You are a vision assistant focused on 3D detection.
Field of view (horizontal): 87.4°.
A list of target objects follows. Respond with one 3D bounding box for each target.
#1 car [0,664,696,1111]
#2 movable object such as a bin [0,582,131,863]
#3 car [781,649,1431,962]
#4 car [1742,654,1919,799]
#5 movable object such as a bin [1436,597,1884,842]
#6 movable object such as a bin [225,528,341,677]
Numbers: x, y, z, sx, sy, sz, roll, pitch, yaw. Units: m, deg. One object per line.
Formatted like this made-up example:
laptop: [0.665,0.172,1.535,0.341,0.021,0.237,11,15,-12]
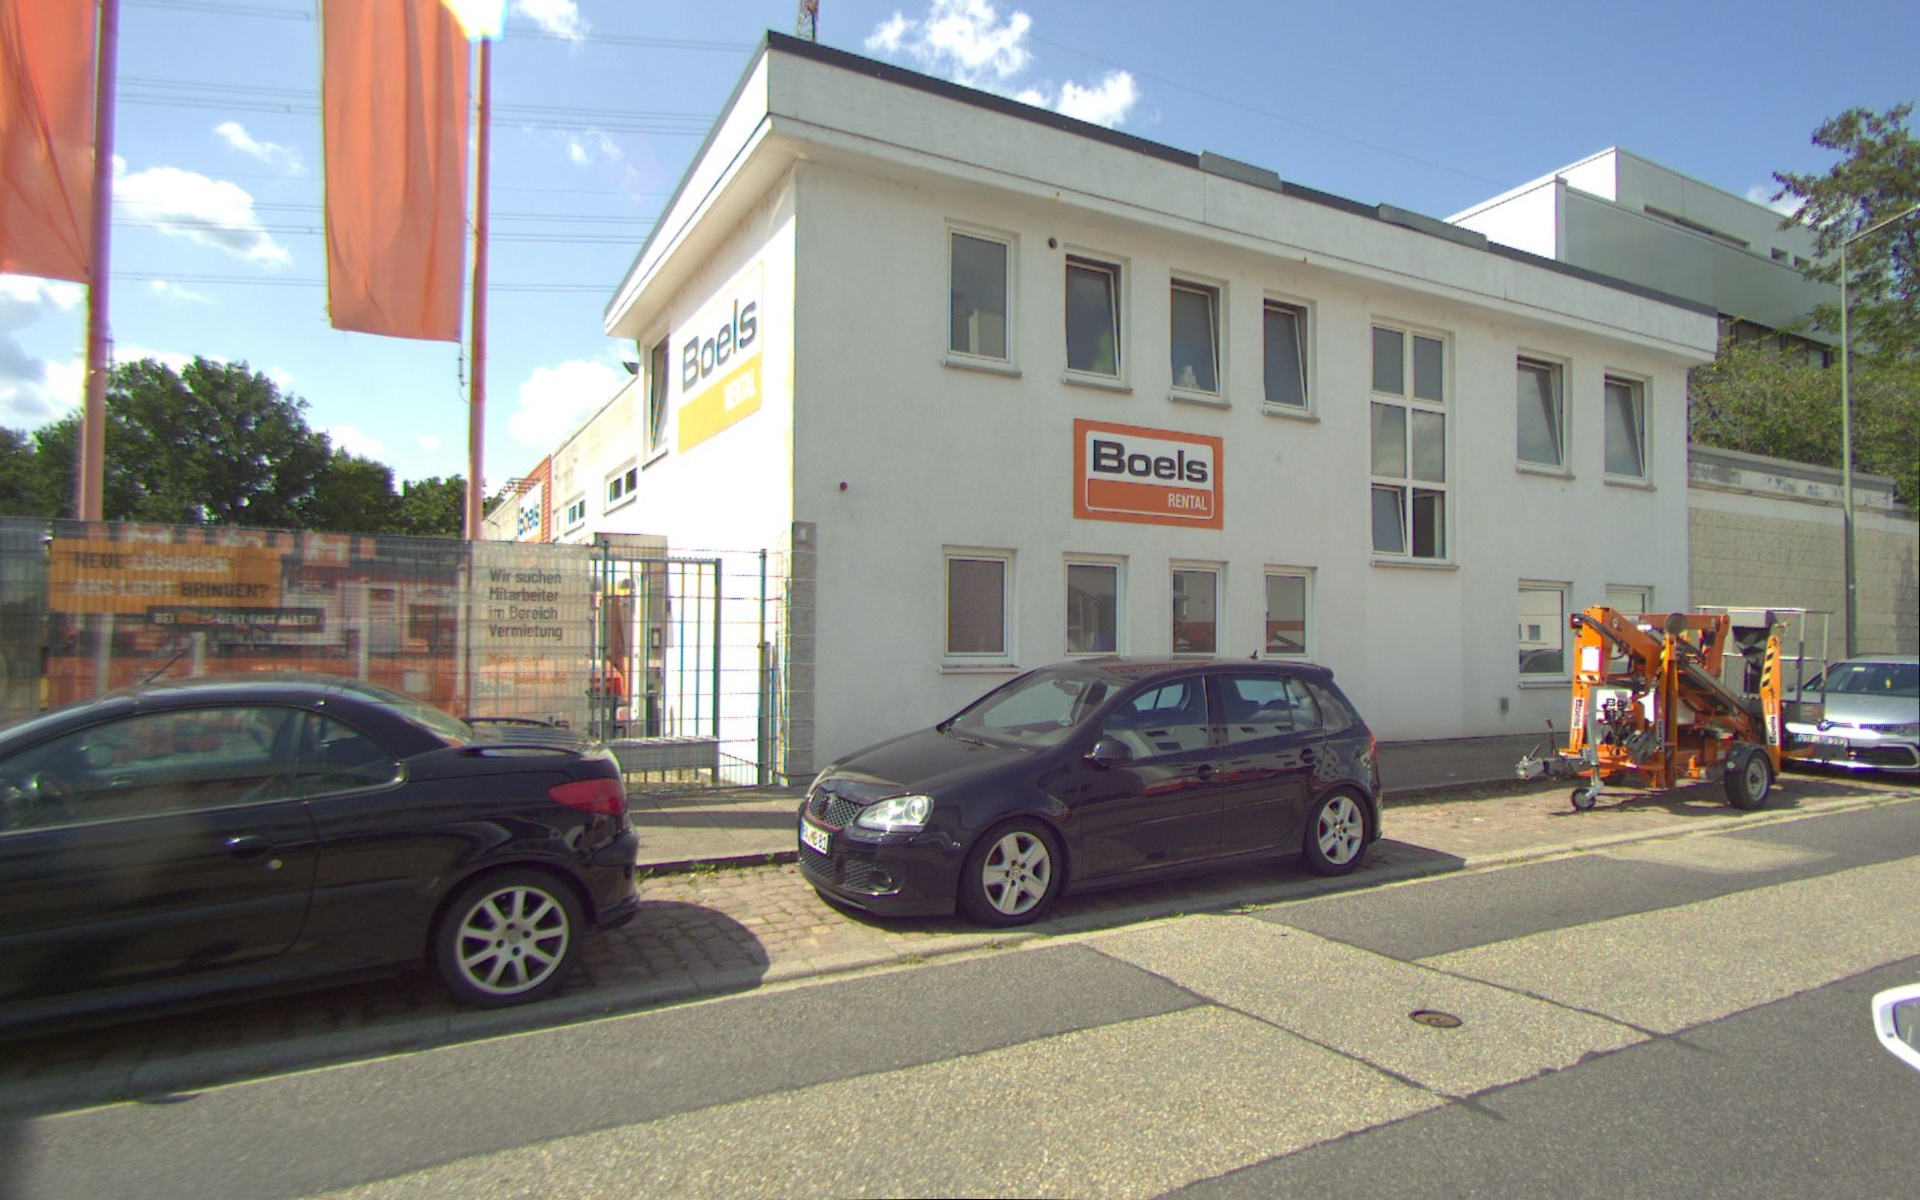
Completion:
car: [-3.273,1.021,4.282,3.839,1.395,1.665,2,-1,-30]
movable object such as a bin: [-9.791,0.881,9.875,1.887,2.031,7.547,2,-1,-35]
car: [1.083,1.128,6.754,4.173,1.474,1.665,2,-1,-30]
car: [11.804,1.467,12.565,4.461,1.474,1.665,2,-1,-30]
movable object such as a bin: [7.182,1.043,10.133,5.076,1.945,1.606,2,2,-30]
movable object such as a bin: [-36.841,0.368,55.209,4.445,7.254,12.023,2,-3,-31]
